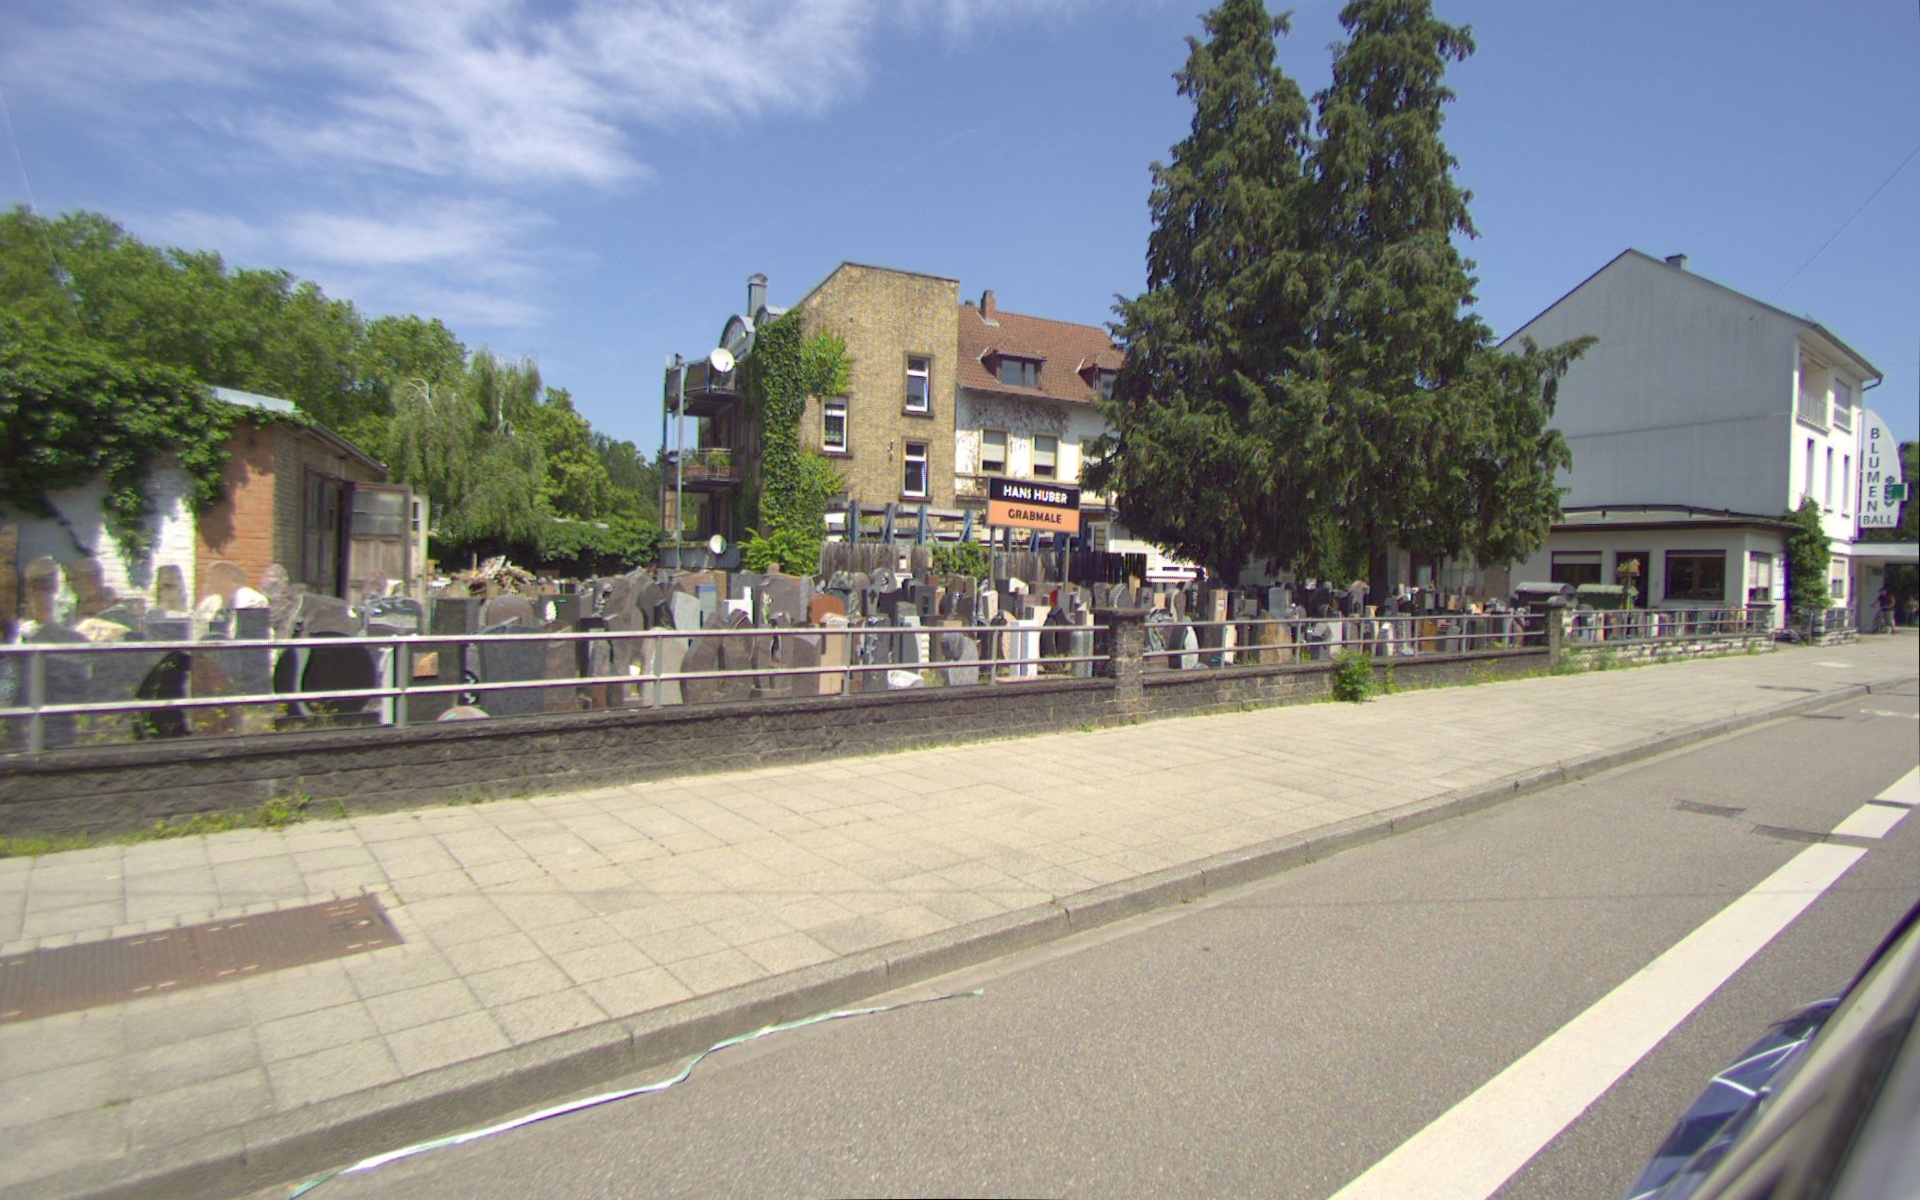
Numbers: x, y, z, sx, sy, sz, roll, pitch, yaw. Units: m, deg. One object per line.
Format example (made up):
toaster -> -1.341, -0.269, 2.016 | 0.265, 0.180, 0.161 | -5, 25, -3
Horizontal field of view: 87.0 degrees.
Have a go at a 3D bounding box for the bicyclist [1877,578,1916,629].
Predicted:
bicyclist -> 36.587, 0.130, 39.543 | 0.870, 1.897, 0.793 | 2, 3, -32

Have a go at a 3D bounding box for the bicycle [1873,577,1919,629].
bicycle -> 36.660, 0.128, 39.578 | 1.919, 1.923, 0.802 | 1, 3, -32

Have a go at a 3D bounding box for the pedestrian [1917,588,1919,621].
pedestrian -> 47.767, 0.239, 50.101 | 0.533, 1.618, 0.420 | 0, 0, 39

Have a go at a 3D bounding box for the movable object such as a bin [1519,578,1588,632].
movable object such as a bin -> 17.314, 0.123, 29.539 | 1.129, 1.500, 1.392 | 1, 1, -35

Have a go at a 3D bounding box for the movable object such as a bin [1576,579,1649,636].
movable object such as a bin -> 18.205, 0.194, 28.234 | 1.130, 1.500, 1.391 | 0, 1, -38
